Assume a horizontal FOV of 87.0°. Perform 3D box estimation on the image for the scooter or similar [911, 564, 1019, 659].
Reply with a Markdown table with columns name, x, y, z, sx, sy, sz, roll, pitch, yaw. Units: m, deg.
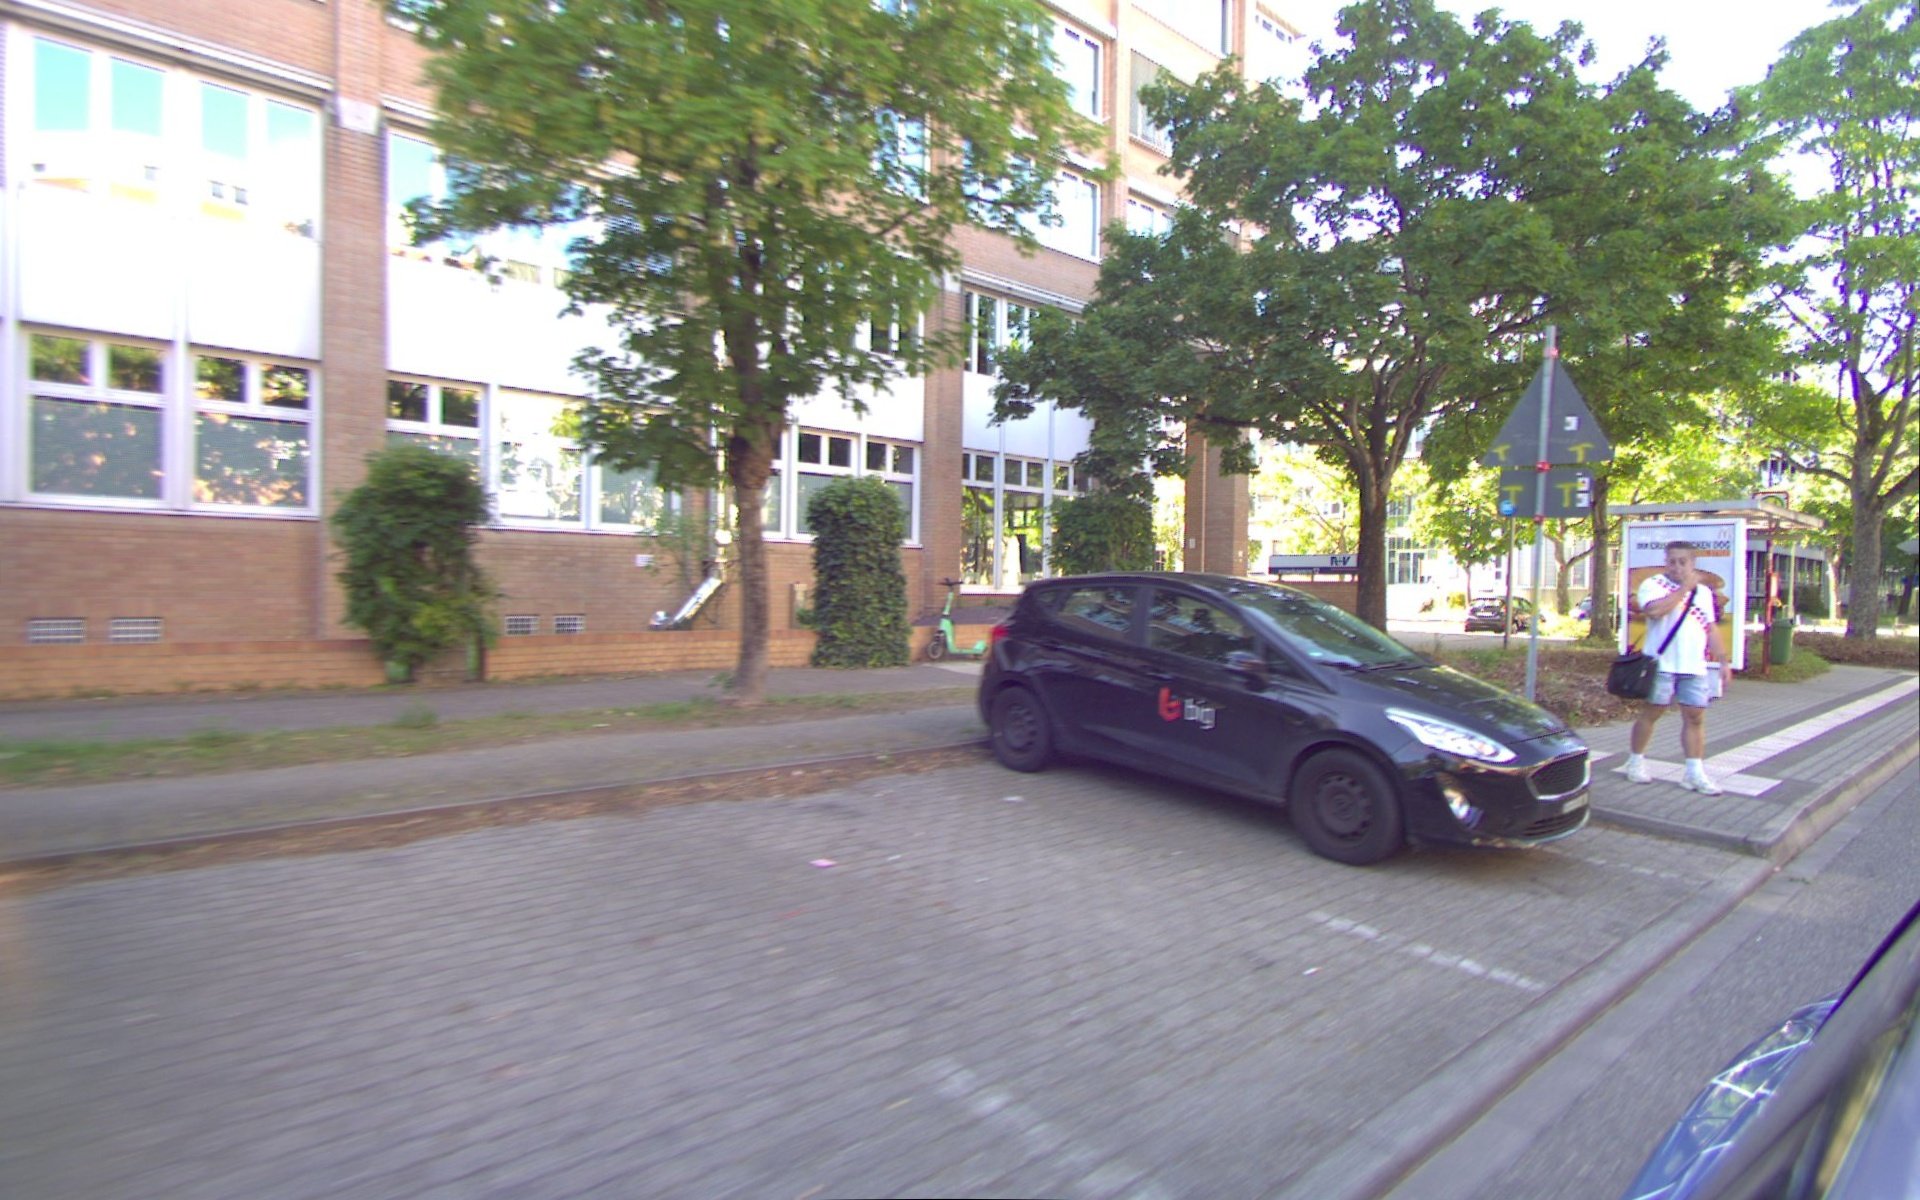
| name | x | y | z | sx | sy | sz | roll | pitch | yaw |
| --- | --- | --- | --- | --- | --- | --- | --- | --- | --- |
| scooter or similar | 0.095 | 0.155 | 15.137 | 0.549 | 1.342 | 1.777 | 0 | 0 | 44 |

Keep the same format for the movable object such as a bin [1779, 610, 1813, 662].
| name | x | y | z | sx | sy | sz | roll | pitch | yaw |
| --- | --- | --- | --- | --- | --- | --- | --- | --- | --- |
| movable object such as a bin | 13.071 | 0.556 | 15.827 | 0.459 | 0.763 | 0.299 | 0 | 3 | -41 |

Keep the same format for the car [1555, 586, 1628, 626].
| name | x | y | z | sx | sy | sz | roll | pitch | yaw |
| --- | --- | --- | --- | --- | --- | --- | --- | --- | --- |
| car | 28.043 | 0.217 | 44.868 | 4.294 | 1.585 | 1.739 | -3 | 3 | -44 |

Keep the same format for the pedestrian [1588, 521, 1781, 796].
| name | x | y | z | sx | sy | sz | roll | pitch | yaw |
| --- | --- | --- | --- | --- | --- | --- | --- | --- | --- |
| pedestrian | 5.001 | 0.356 | 7.030 | 0.916 | 1.731 | 0.689 | 6 | 3 | 36 |

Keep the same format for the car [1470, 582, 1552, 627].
| name | x | y | z | sx | sy | sz | roll | pitch | yaw |
| --- | --- | --- | --- | --- | --- | --- | --- | --- | --- |
| car | 19.554 | 0.143 | 35.828 | 1.652 | 1.481 | 3.856 | 2 | 1 | 43 |

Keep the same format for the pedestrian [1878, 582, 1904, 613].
| name | x | y | z | sx | sy | sz | roll | pitch | yaw |
| --- | --- | --- | --- | --- | --- | --- | --- | --- | --- |
| pedestrian | 55.437 | -0.143 | 60.281 | 1.001 | 1.821 | 1.036 | 0 | 0 | -42 |

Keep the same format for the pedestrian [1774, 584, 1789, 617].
| name | x | y | z | sx | sy | sz | roll | pitch | yaw |
| --- | --- | --- | --- | --- | --- | --- | --- | --- | --- |
| pedestrian | 40.564 | 0.000 | 49.943 | 0.537 | 1.602 | 0.639 | 2 | 1 | 40 |

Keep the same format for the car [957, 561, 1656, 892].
| name | x | y | z | sx | sy | sz | roll | pitch | yaw |
| --- | --- | --- | --- | --- | --- | --- | --- | --- | --- |
| car | 1.930 | 0.502 | 6.559 | 1.743 | 1.457 | 3.942 | 0 | 2 | -41 |
